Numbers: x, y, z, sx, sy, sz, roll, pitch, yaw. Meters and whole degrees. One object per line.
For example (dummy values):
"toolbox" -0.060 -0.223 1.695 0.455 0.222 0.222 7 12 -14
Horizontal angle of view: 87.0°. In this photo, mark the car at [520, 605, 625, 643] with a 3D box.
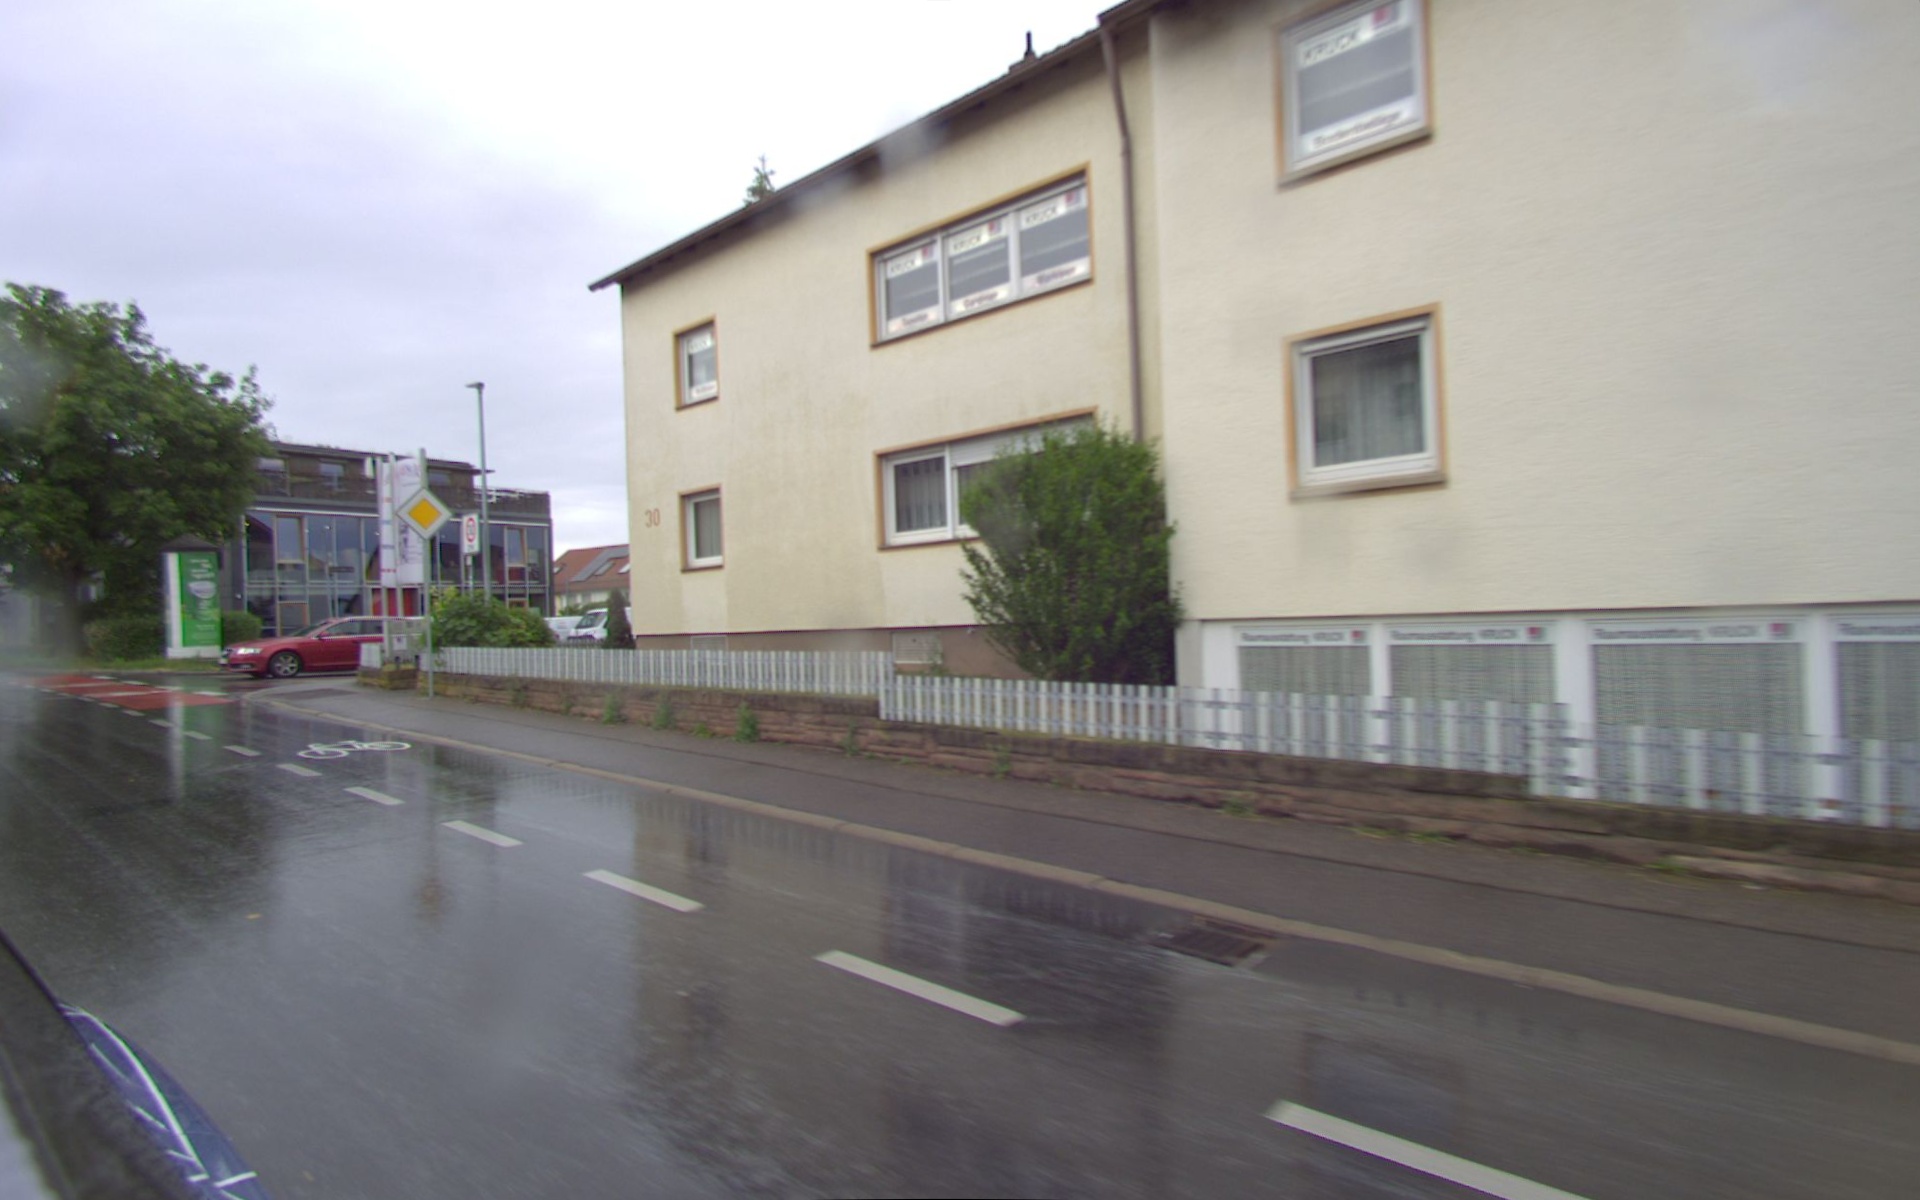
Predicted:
"car" -19.145 1.198 50.176 2.041 1.804 4.511 -2 -2 34

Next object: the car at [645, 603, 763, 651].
"car" -11.461 1.193 45.638 1.877 1.783 5.014 -5 -1 38

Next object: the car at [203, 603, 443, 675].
"car" -15.372 0.931 24.650 1.871 1.579 4.599 -2 -2 37

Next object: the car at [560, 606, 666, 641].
"car" -16.420 1.131 48.146 2.170 1.579 4.518 -2 -2 30

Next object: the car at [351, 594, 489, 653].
"car" -21.622 0.910 40.682 2.145 2.029 4.366 -5 -1 30

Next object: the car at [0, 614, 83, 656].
"car" -33.716 1.237 36.515 1.250 1.466 2.884 0 -1 34

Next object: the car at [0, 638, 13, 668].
"car" -38.278 2.050 38.620 1.467 1.168 2.884 -3 -2 34

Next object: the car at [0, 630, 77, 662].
"car" -39.733 1.918 42.383 1.578 1.294 3.867 -3 -2 34
